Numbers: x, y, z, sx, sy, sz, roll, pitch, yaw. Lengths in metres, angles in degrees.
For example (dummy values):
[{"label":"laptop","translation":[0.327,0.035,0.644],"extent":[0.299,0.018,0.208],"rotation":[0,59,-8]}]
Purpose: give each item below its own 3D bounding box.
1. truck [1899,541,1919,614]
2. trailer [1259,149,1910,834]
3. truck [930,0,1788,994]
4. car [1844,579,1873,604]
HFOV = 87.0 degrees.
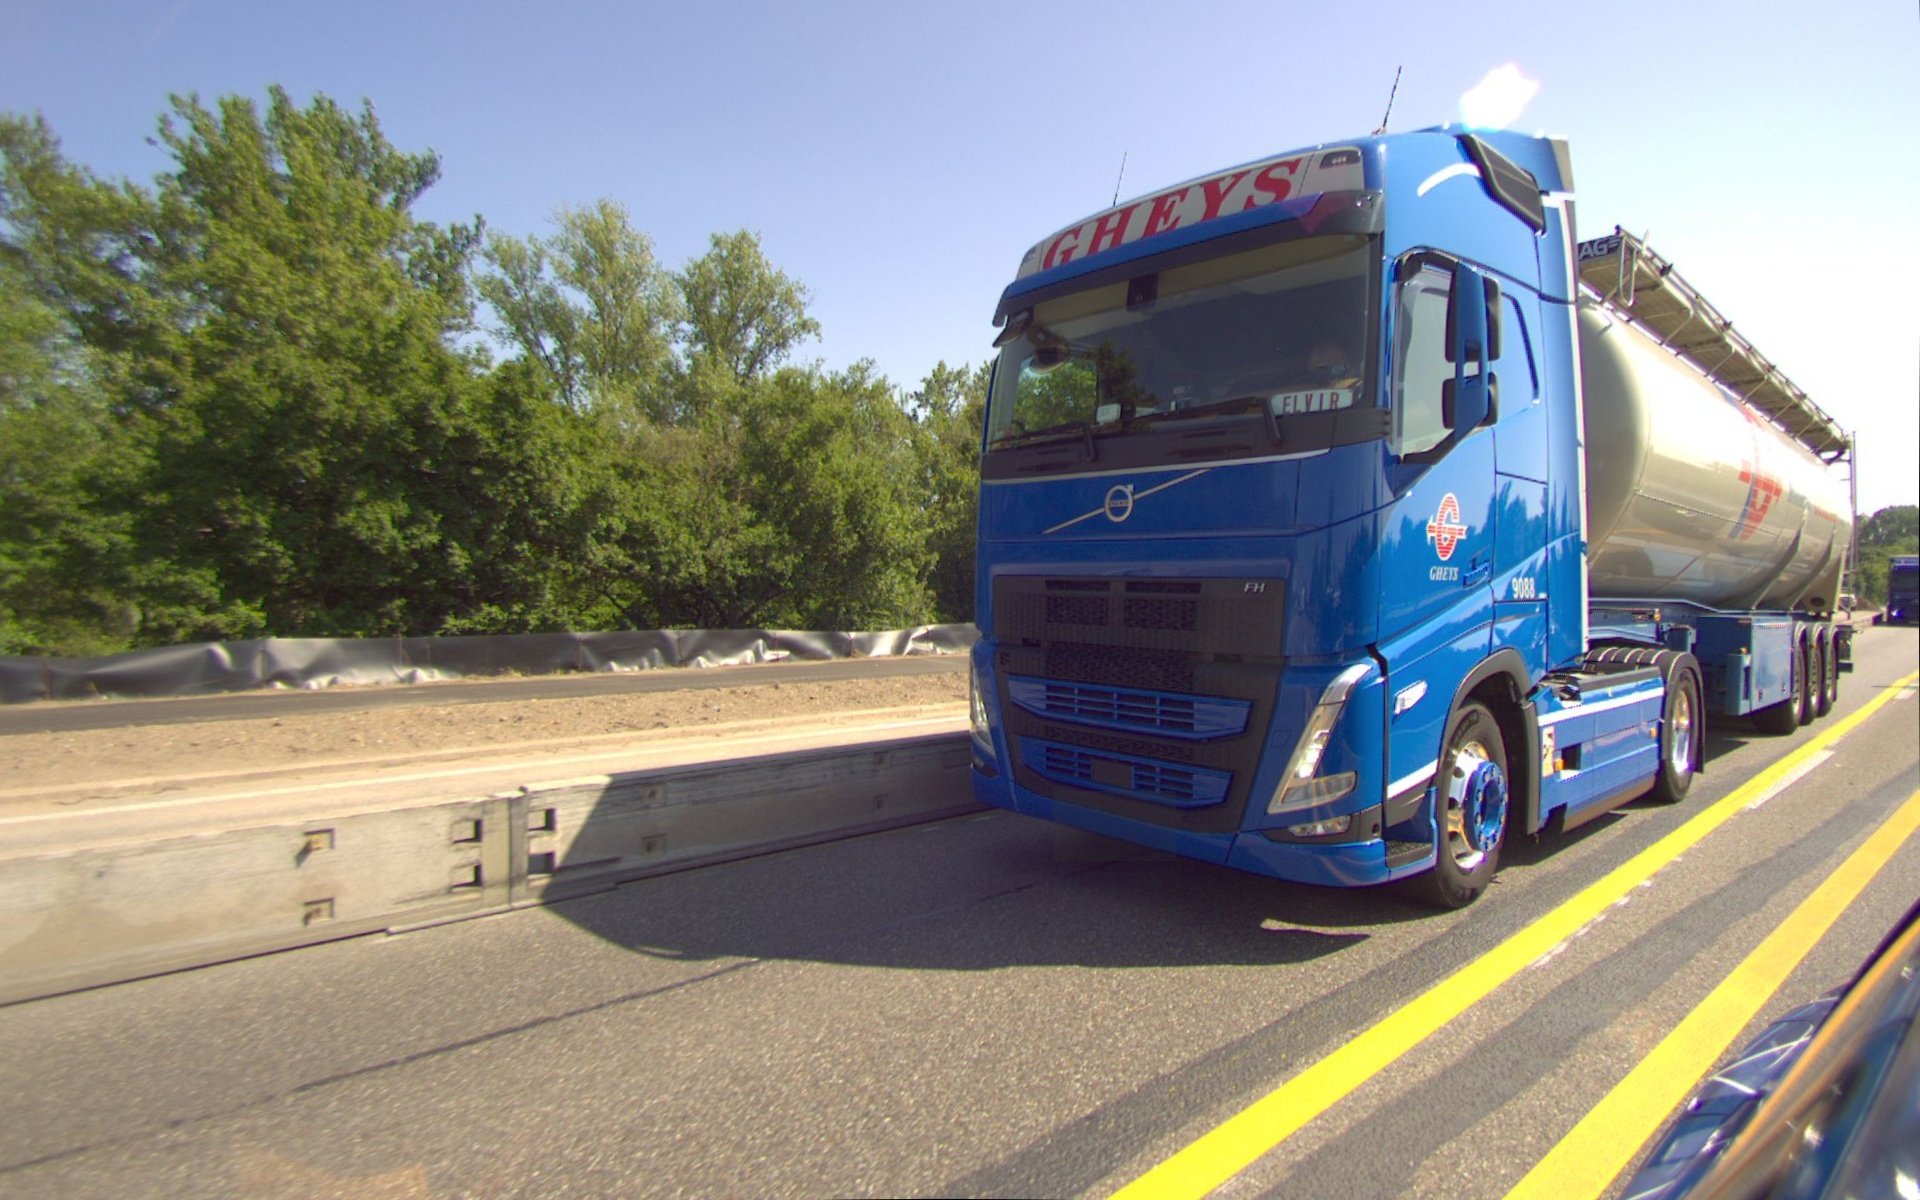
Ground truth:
[{"label":"truck","translation":[56.939,-1.246,58.960],"extent":[2.856,4.033,8.526],"rotation":[4,3,44]},{"label":"trailer","translation":[8.012,-0.747,11.375],"extent":[12.398,4.187,2.699],"rotation":[0,3,-42]},{"label":"truck","translation":[3.411,-0.722,7.130],"extent":[7.178,4.152,2.698],"rotation":[0,3,-44]},{"label":"car","translation":[100.966,-0.993,113.746],"extent":[2.102,2.674,5.899],"rotation":[4,3,39]}]
